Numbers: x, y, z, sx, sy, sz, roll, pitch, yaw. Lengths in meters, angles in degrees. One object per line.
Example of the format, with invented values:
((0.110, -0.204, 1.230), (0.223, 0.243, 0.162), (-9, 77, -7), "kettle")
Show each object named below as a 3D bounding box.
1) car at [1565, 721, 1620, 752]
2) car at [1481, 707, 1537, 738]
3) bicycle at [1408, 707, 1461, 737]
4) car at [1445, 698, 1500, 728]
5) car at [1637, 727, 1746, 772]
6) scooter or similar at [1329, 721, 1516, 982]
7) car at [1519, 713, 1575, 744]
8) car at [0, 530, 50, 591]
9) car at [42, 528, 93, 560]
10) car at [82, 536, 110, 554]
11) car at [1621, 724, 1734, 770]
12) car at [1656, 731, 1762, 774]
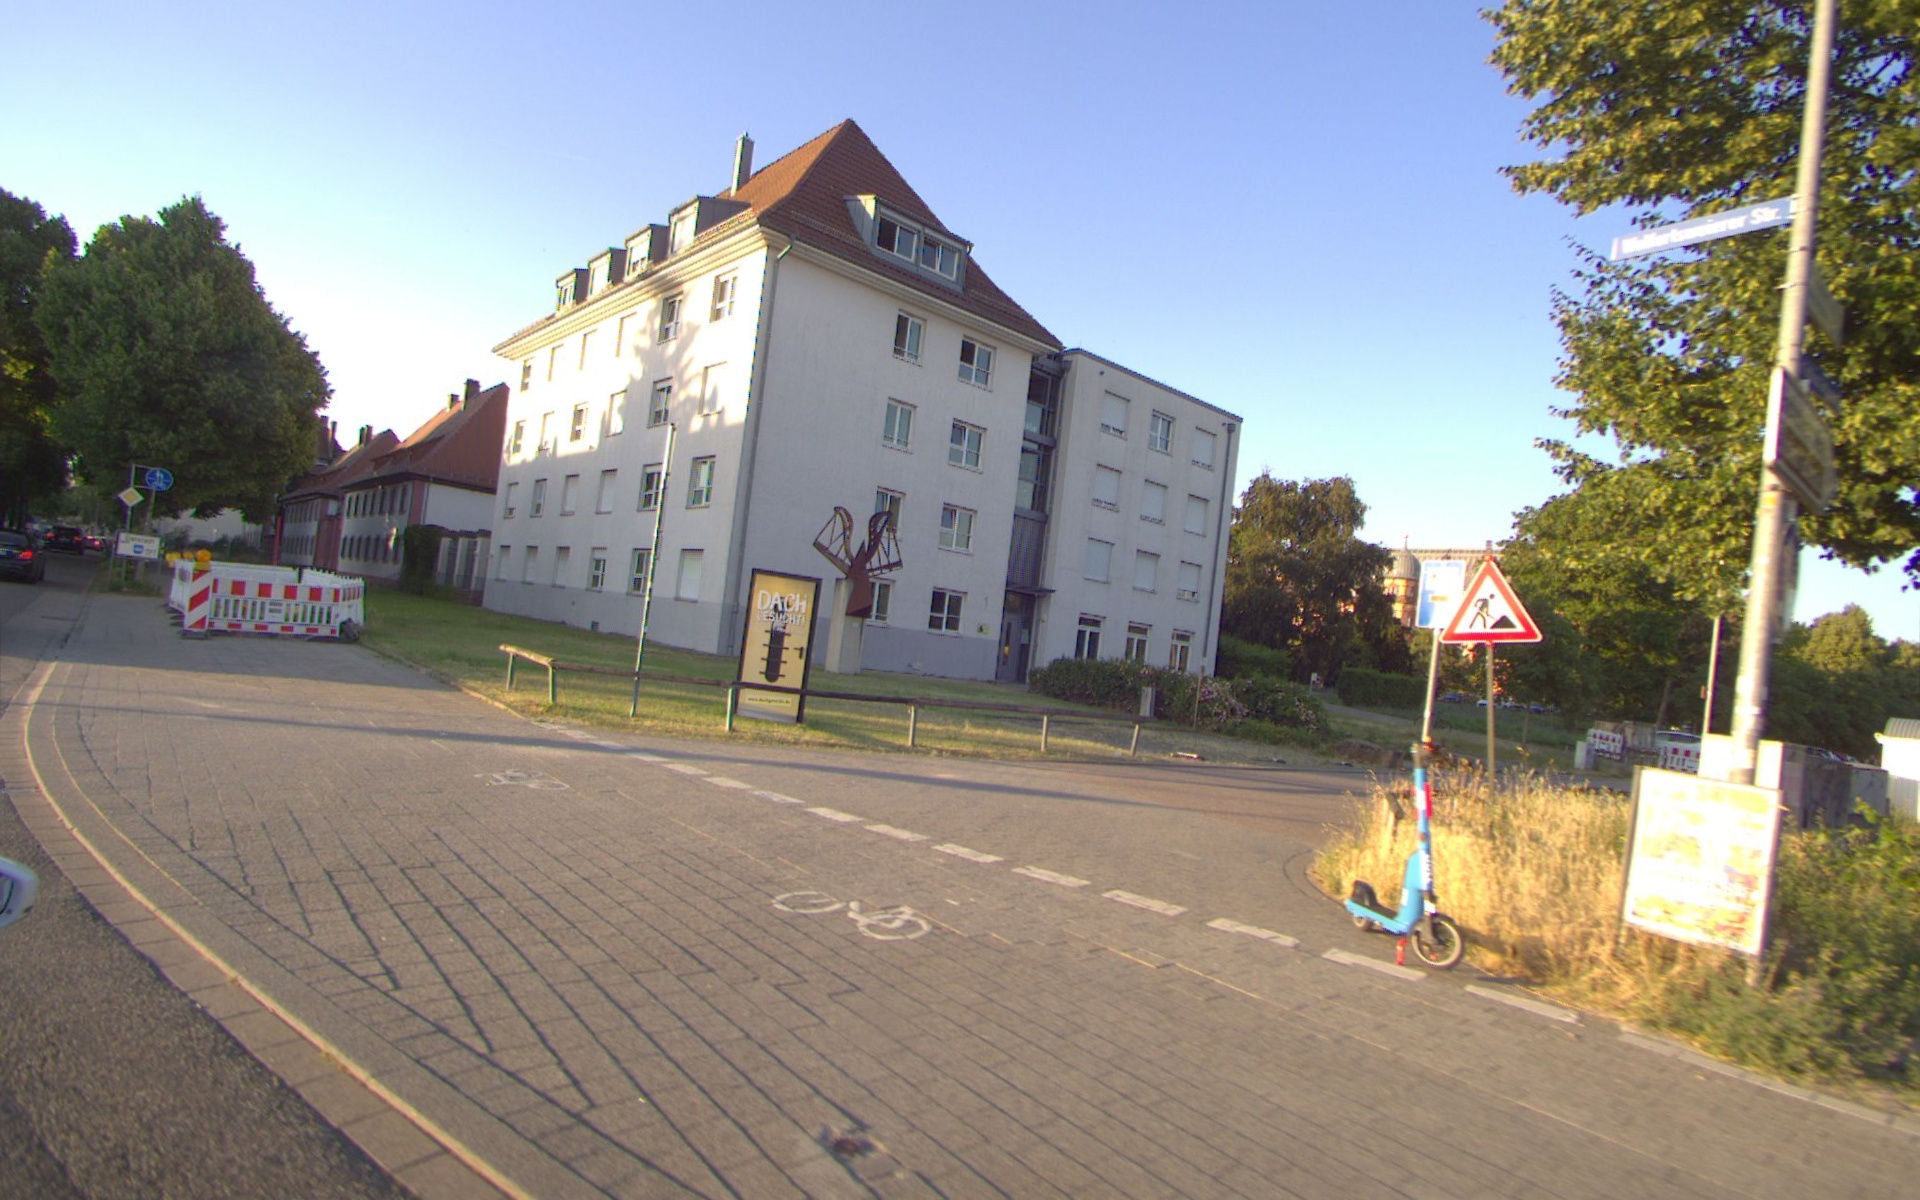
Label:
((37.974, 8.212, 60.380), (3.807, 1.503, 1.872), (9, -3, -44), "car")
((33.456, 7.480, 61.274), (3.807, 1.503, 1.872), (9, -3, -44), "car")
((19.238, 4.949, 40.812), (0.402, 0.889, 1.827), (7, -1, -41), "bicycle")
((32.125, 7.085, 63.022), (3.807, 1.503, 1.872), (9, -3, -44), "car")
((35.062, 7.144, 48.250), (3.948, 1.503, 1.885), (4, -3, 44), "car")
((2.654, 1.394, 5.880), (0.434, 1.252, 1.124), (6, -2, -2), "scooter or similar")
((35.393, 7.732, 60.586), (3.807, 1.503, 1.872), (9, -3, -44), "car")
((-27.082, -1.226, 28.325), (1.946, 1.443, 4.378), (10, -3, -42), "car")
((-54.584, -3.426, 61.621), (1.944, 1.589, 4.382), (10, -3, -39), "car")
((-92.857, -5.911, 108.107), (1.944, 1.589, 4.382), (10, -3, -39), "car")
((32.958, 6.727, 46.268), (3.948, 1.503, 1.885), (4, -3, 44), "car")
((36.982, 7.508, 49.726), (3.948, 1.503, 1.885), (4, -3, 44), "car")
